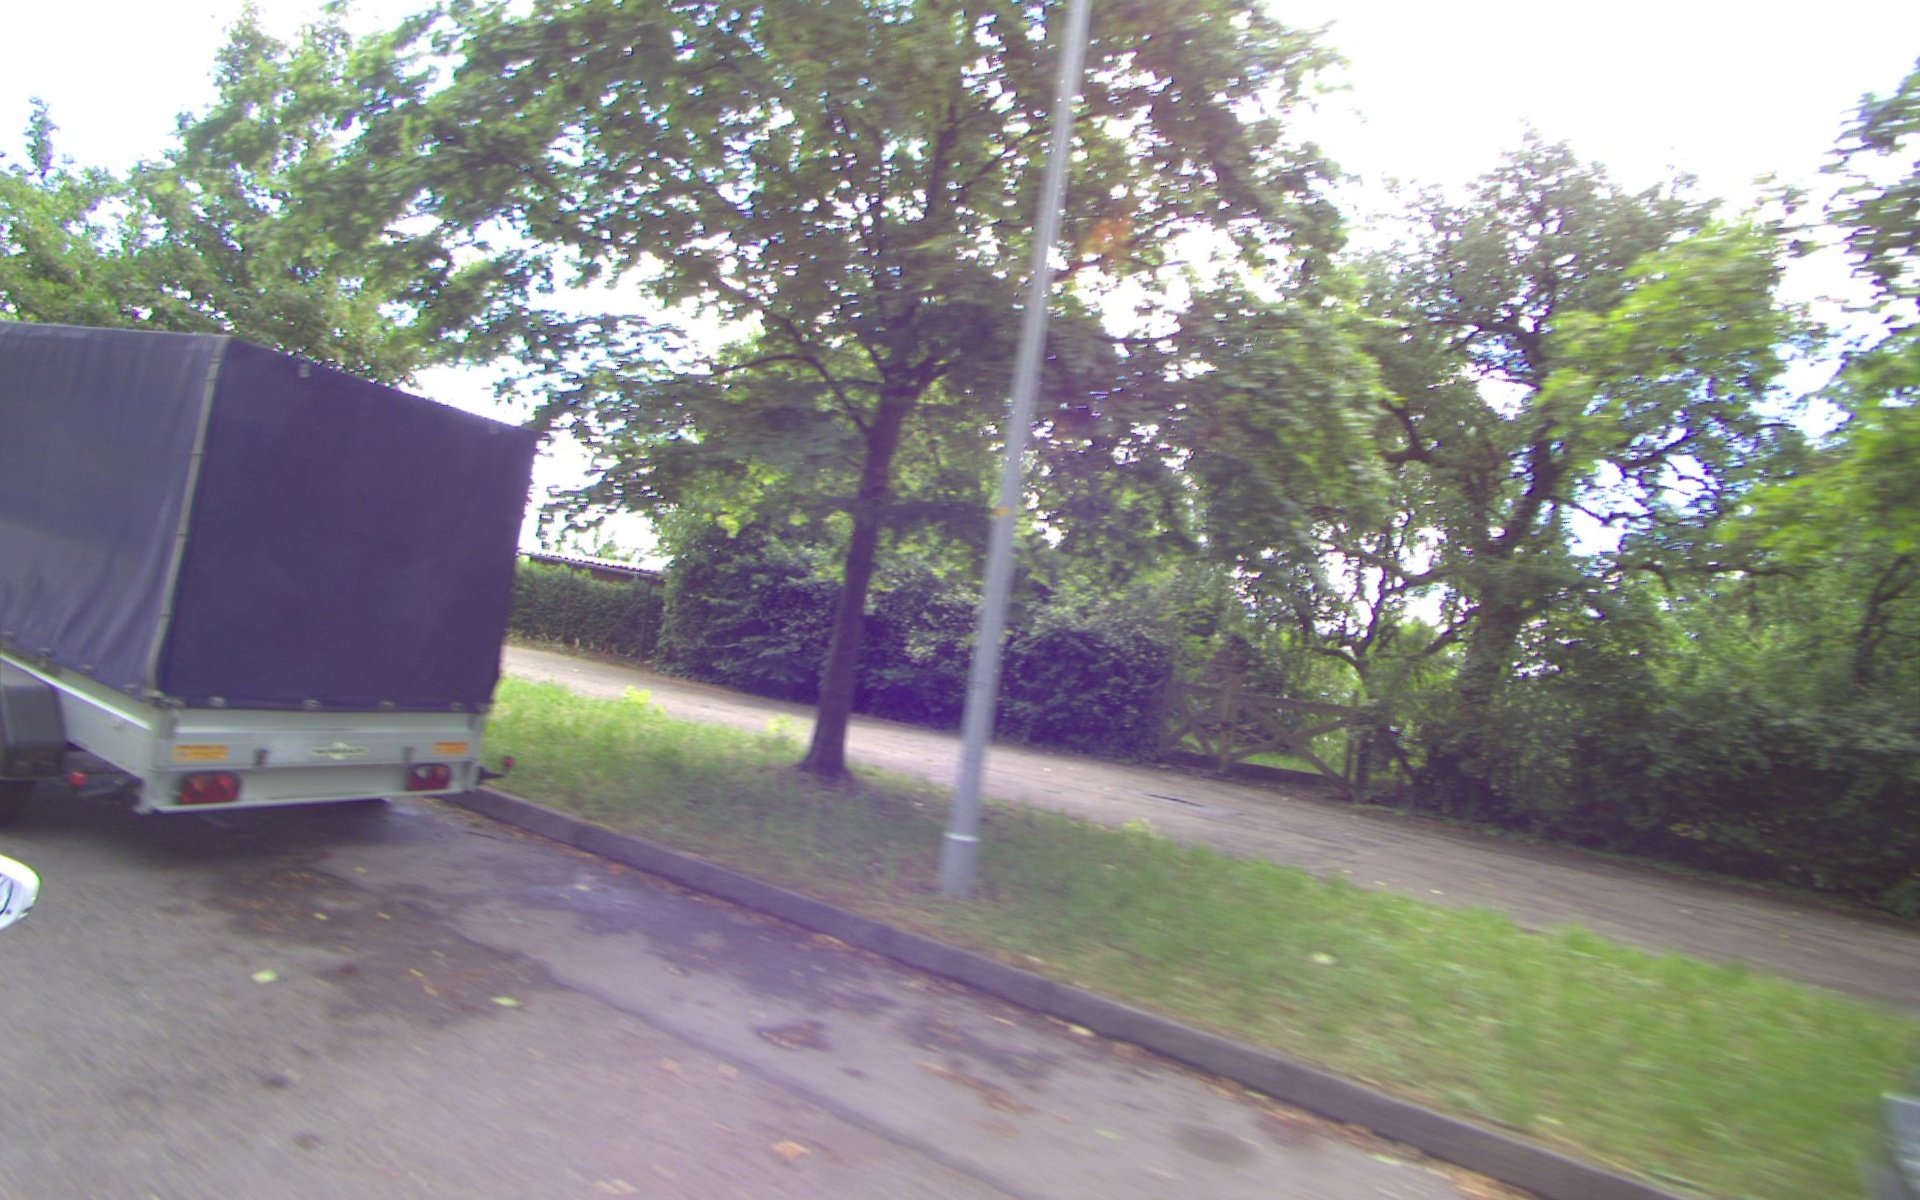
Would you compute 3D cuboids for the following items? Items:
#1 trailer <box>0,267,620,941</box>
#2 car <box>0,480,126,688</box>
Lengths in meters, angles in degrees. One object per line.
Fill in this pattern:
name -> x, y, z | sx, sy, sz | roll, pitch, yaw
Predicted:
trailer -> -4.460, -0.206, 5.625 | 4.621, 2.390, 2.110 | 9, 1, 31
car -> -8.809, -0.298, 8.201 | 3.345, 1.539, 1.736 | 6, -3, 26
